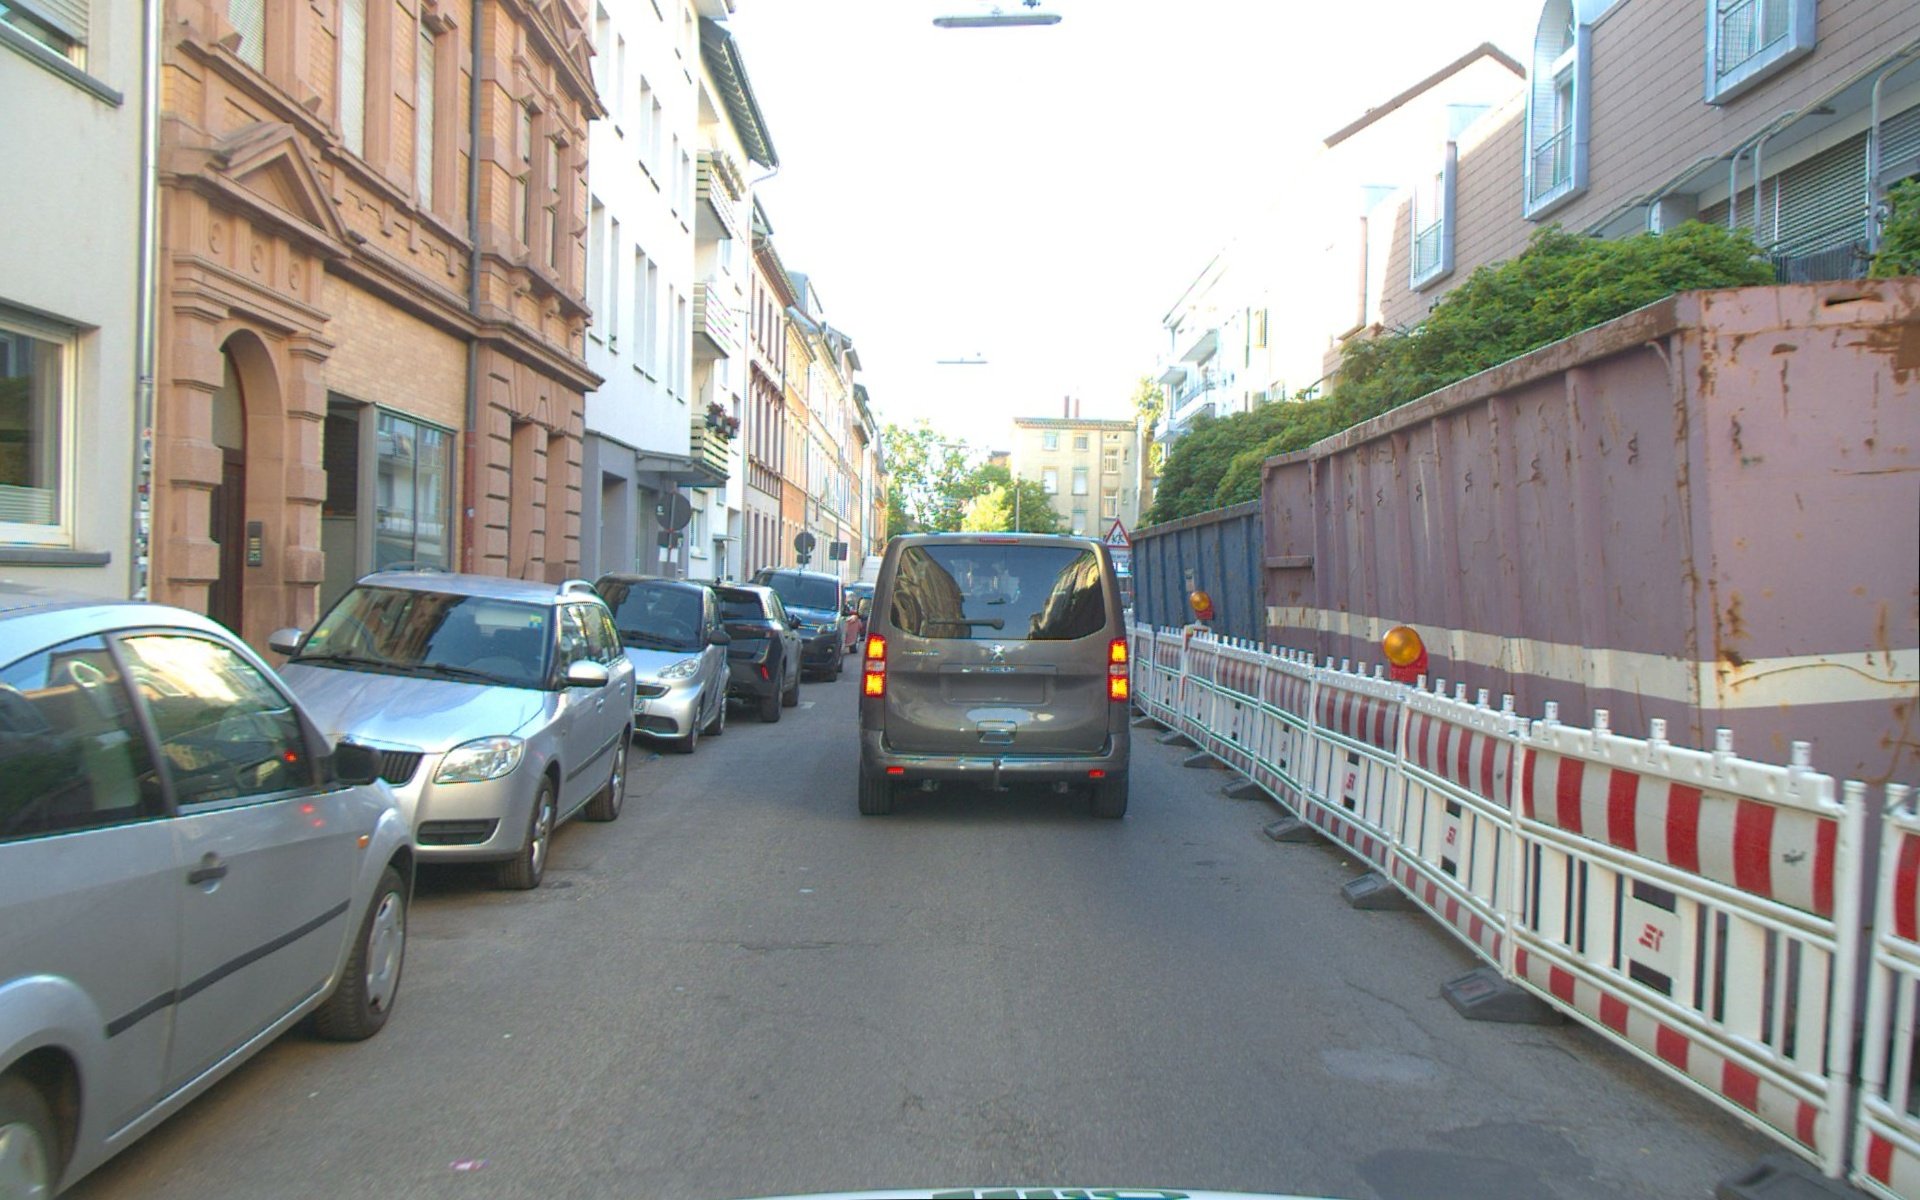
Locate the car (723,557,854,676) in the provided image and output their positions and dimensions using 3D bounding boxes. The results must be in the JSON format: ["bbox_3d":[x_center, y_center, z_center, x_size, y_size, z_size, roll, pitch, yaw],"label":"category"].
[{"bbox_3d":[-2.945,0.242,29.362,1.953,1.891,4.583,2,1,-2],"label":"car"}]

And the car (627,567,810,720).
[{"bbox_3d":[-2.843,0.460,20.248,1.705,1.627,4.013,2,1,-1],"label":"car"}]

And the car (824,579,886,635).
[{"bbox_3d":[-3.091,0.191,49.157,1.624,1.473,3.285,5,0,-2],"label":"car"}]

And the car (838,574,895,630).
[{"bbox_3d":[-3.024,0.037,54.349,1.677,1.672,3.978,4,1,-2],"label":"car"}]

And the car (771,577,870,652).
[{"bbox_3d":[-3.219,0.314,38.774,1.635,1.510,3.607,6,1,4],"label":"car"}]

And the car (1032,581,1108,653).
[{"bbox_3d":[2.792,0.394,42.826,1.713,1.712,4.526,2,1,1],"label":"car"}]

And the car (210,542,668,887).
[{"bbox_3d":[-2.786,0.526,9.639,1.524,1.534,3.596,4,0,-2],"label":"car"}]

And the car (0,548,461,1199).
[{"bbox_3d":[-2.543,0.594,4.125,1.599,1.455,3.554,2,1,-2],"label":"car"}]

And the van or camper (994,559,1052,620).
[{"bbox_3d":[2.834,-0.481,76.024,2.057,2.647,7.509,0,0,-2],"label":"van or camper"}]

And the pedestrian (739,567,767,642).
[{"bbox_3d":[-4.691,0.100,37.534,0.485,1.667,0.665,3,0,-1],"label":"pedestrian"}]

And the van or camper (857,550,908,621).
[{"bbox_3d":[-3.083,-0.581,65.766,1.910,2.695,7.137,0,0,-3],"label":"van or camper"}]

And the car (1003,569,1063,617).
[{"bbox_3d":[2.612,-0.266,60.066,1.688,1.640,4.585,1,0,-3],"label":"car"}]

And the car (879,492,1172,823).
[{"bbox_3d":[0.365,0.331,12.331,1.820,2.049,3.999,0,1,-2],"label":"car"}]

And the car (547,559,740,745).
[{"bbox_3d":[-3.022,0.452,16.221,1.367,1.616,2.793,2,1,-1],"label":"car"}]
